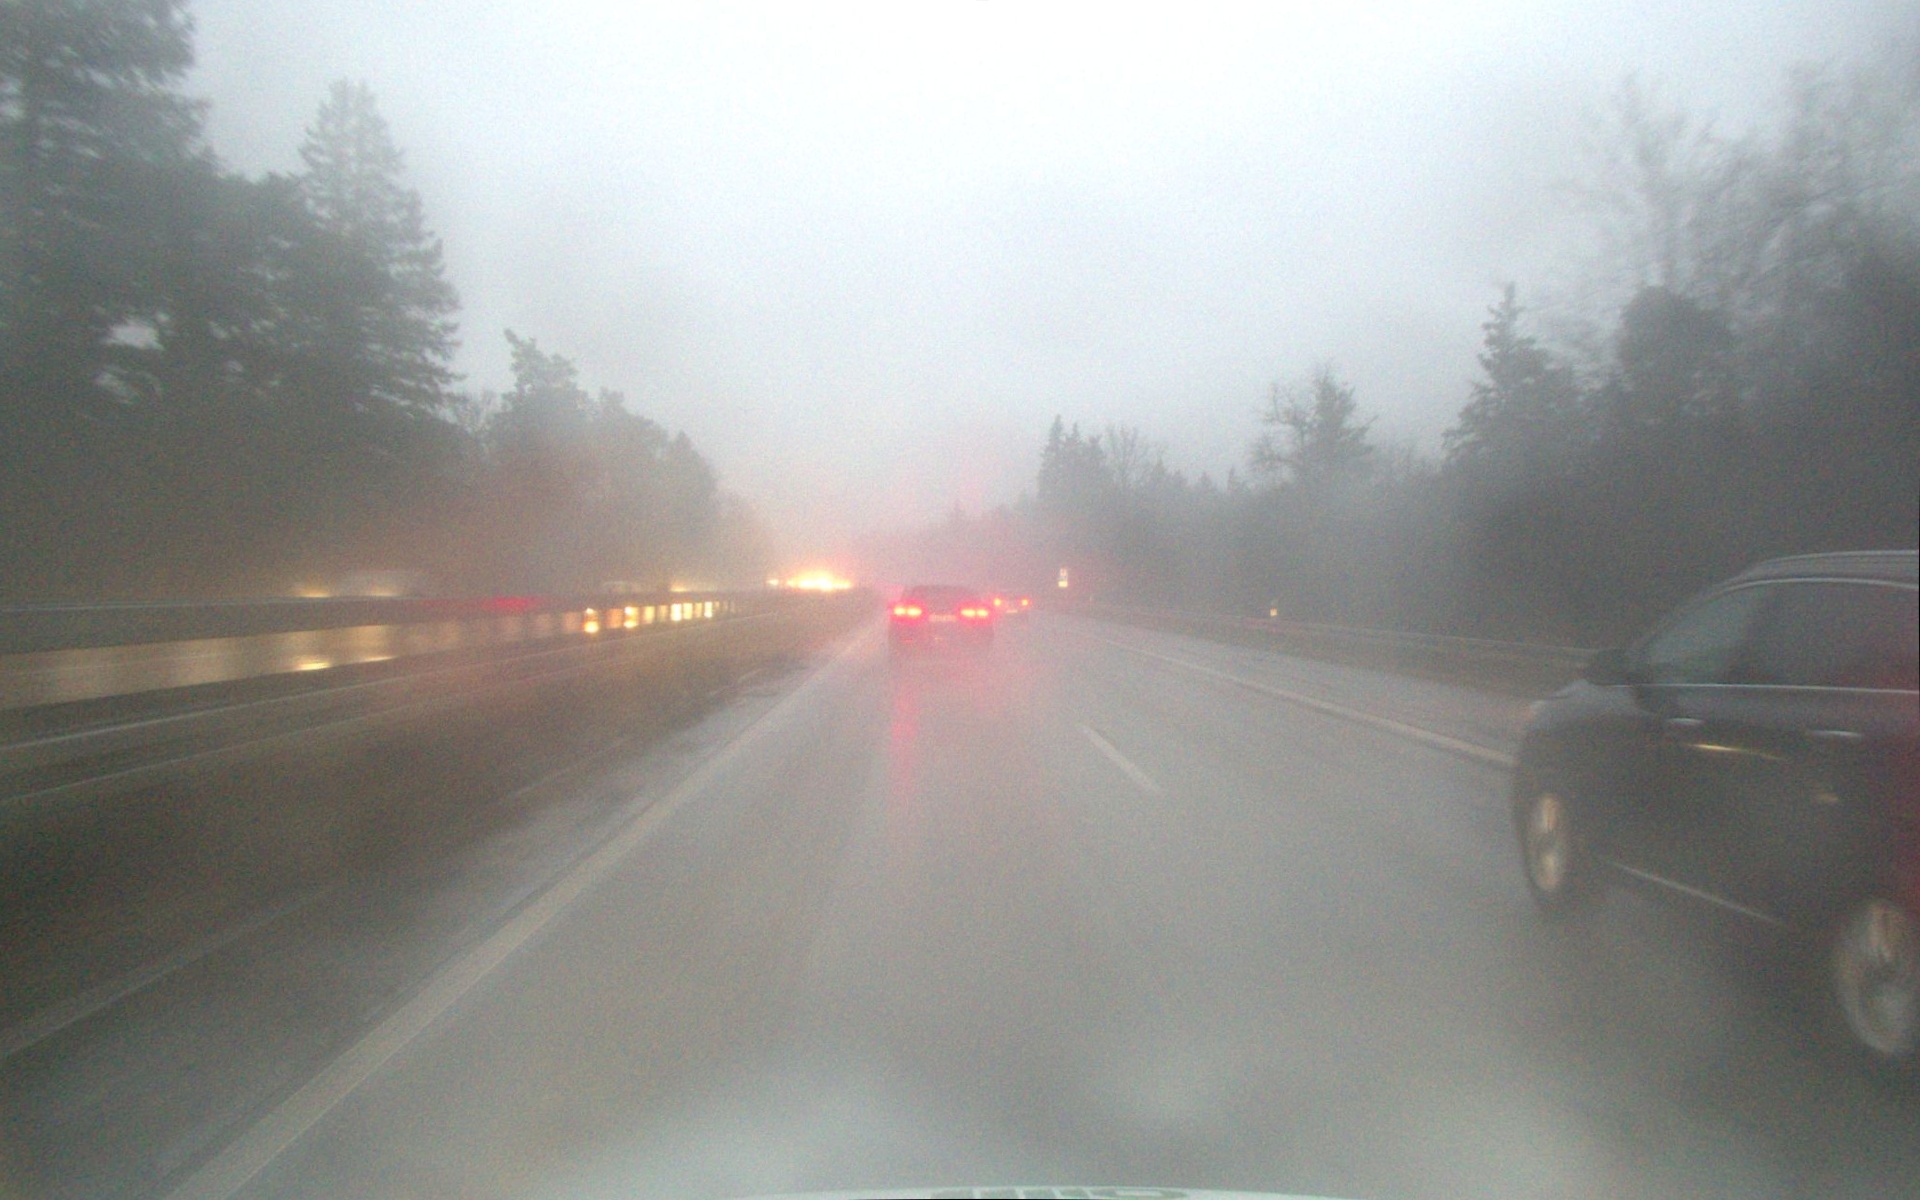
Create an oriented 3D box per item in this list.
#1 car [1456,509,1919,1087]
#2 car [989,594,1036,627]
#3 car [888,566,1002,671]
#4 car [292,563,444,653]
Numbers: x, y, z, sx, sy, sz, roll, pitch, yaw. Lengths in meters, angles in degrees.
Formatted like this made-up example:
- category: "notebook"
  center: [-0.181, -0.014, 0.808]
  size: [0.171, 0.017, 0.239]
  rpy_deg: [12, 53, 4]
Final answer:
- category: "car"
  center: [3.860, 0.587, 7.161]
  size: [2.028, 1.727, 4.460]
  rpy_deg: [1, 0, -1]
- category: "car"
  center: [2.356, 0.456, 74.975]
  size: [1.745, 1.462, 3.534]
  rpy_deg: [1, 0, -4]
- category: "car"
  center: [-0.303, 0.308, 30.490]
  size: [1.946, 1.798, 4.172]
  rpy_deg: [0, 0, -1]
- category: "car"
  center: [-12.103, 0.135, 34.056]
  size: [1.776, 1.720, 3.999]
  rpy_deg: [1, 0, -2]
